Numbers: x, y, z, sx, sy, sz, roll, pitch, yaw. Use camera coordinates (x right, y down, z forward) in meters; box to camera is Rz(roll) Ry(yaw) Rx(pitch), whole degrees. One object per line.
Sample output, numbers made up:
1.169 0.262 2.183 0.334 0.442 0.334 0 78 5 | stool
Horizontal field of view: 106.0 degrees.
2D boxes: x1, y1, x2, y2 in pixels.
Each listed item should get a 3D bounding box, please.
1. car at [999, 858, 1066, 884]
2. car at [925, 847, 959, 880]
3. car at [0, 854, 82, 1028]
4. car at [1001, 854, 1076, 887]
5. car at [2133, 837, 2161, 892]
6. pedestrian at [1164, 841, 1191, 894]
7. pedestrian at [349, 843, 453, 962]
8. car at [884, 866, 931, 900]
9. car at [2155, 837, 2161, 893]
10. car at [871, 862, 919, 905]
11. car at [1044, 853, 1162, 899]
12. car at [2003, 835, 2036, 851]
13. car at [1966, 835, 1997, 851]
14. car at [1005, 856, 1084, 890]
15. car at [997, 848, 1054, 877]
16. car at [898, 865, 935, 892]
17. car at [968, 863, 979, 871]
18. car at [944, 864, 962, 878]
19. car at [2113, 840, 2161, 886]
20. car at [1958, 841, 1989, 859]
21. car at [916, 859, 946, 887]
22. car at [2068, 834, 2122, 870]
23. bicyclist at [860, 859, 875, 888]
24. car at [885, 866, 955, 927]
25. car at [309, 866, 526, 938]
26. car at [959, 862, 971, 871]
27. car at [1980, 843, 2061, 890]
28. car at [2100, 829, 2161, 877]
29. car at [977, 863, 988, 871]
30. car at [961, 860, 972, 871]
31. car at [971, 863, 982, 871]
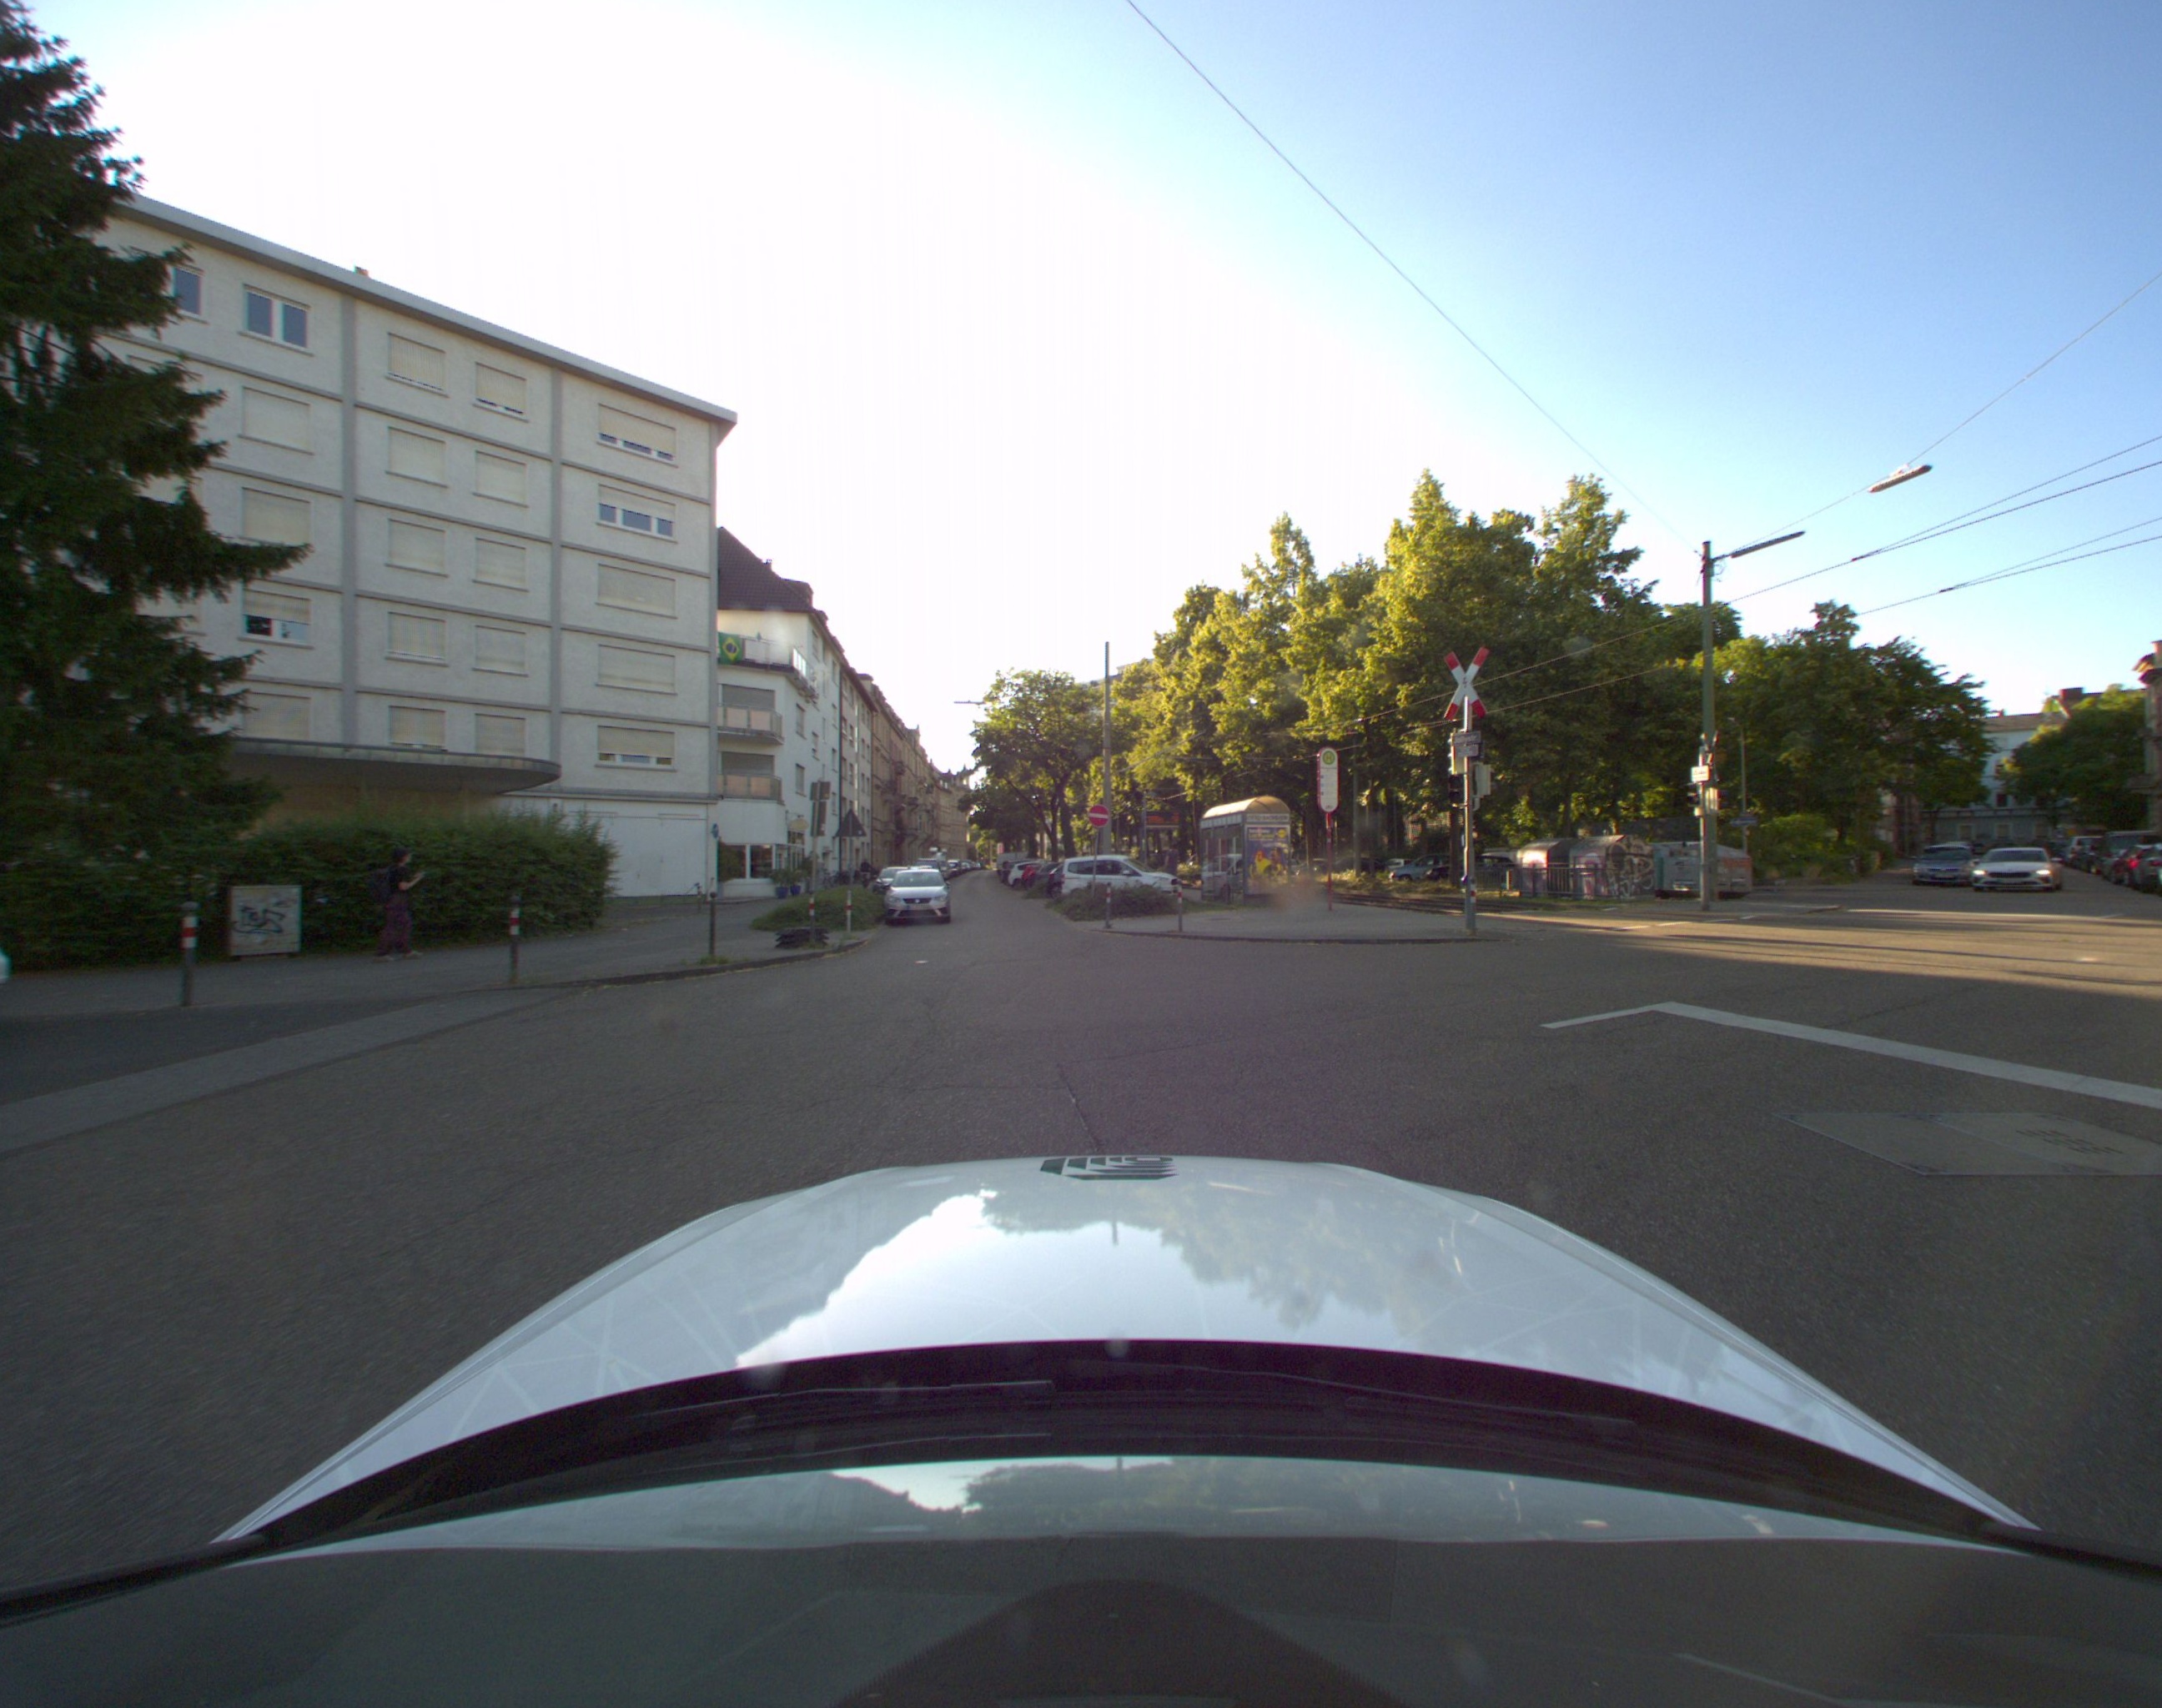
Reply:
-3.398 1.209 57.446 4.191 1.473 1.868 -5 0 21 | car
-12.927 0.904 76.233 2.548 2.887 5.472 -2 0 -5 | car
-11.174 0.767 6.265 4.275 1.450 1.920 -1 0 -5 | car
-2.684 1.061 51.359 4.187 1.749 1.869 -5 0 29 | car
35.757 0.338 26.319 4.567 1.723 1.811 0 3 -41 | car
3.499 0.486 29.531 0.842 1.910 0.841 -1 -1 13 | pedestrian
-10.277 0.711 12.346 0.828 1.736 0.868 1 -1 -8 | pedestrian
-8.385 1.368 39.659 1.708 1.446 3.993 -2 0 -5 | car
32.117 0.367 22.890 4.209 1.656 1.899 0 2 -42 | car
-8.010 1.226 35.298 1.710 1.673 3.987 -2 0 -9 | car
0.864 0.850 31.696 4.159 1.436 1.709 -5 0 17 | car
105.392 -1.198 91.519 1.975 1.684 4.024 1 -1 43 | car
103.191 -1.234 93.367 1.975 1.684 4.024 1 -1 43 | car
-2.143 1.111 48.203 4.187 1.651 1.869 -5 0 29 | car
-5.748 0.854 83.900 5.207 2.571 2.285 -5 0 21 | car
-10.093 1.471 50.090 1.708 1.446 3.993 -2 0 -5 | car
-20.736 2.531 156.662 1.707 1.446 3.996 -2 0 -3 | car
-14.386 1.937 91.578 1.708 1.446 3.992 -2 0 -5 | car
39.691 0.310 29.914 3.977 1.613 1.782 -1 2 -44 | car
81.881 -0.382 74.693 3.952 1.500 1.811 0 3 -41 | car
-11.063 1.350 60.410 1.708 1.932 3.993 -2 0 -5 | car
60.661 -0.153 48.777 3.976 2.072 1.782 0 2 -42 | car
-12.036 1.105 46.012 0.711 1.617 0.722 -1 -1 -7 | bicyclist
-4.525 1.115 22.854 1.712 1.446 3.984 -2 0 -12 | car
-16.311 1.113 20.260 4.019 1.533 1.977 0 -1 -38 | car
-19.719 2.113 138.104 1.708 1.446 3.993 -2 0 -5 | car
31.835 0.396 27.609 4.083 1.457 1.687 -1 0 -40 | car
48.293 -0.080 37.286 3.976 2.072 1.782 0 2 -42 | car
-20.242 2.603 167.086 1.704 1.446 4.001 -2 0 1 | car
-20.597 2.004 146.646 1.707 1.820 3.996 -2 0 -3 | car
-20.720 2.628 162.092 1.705 1.446 3.999 -2 0 -1 | car
